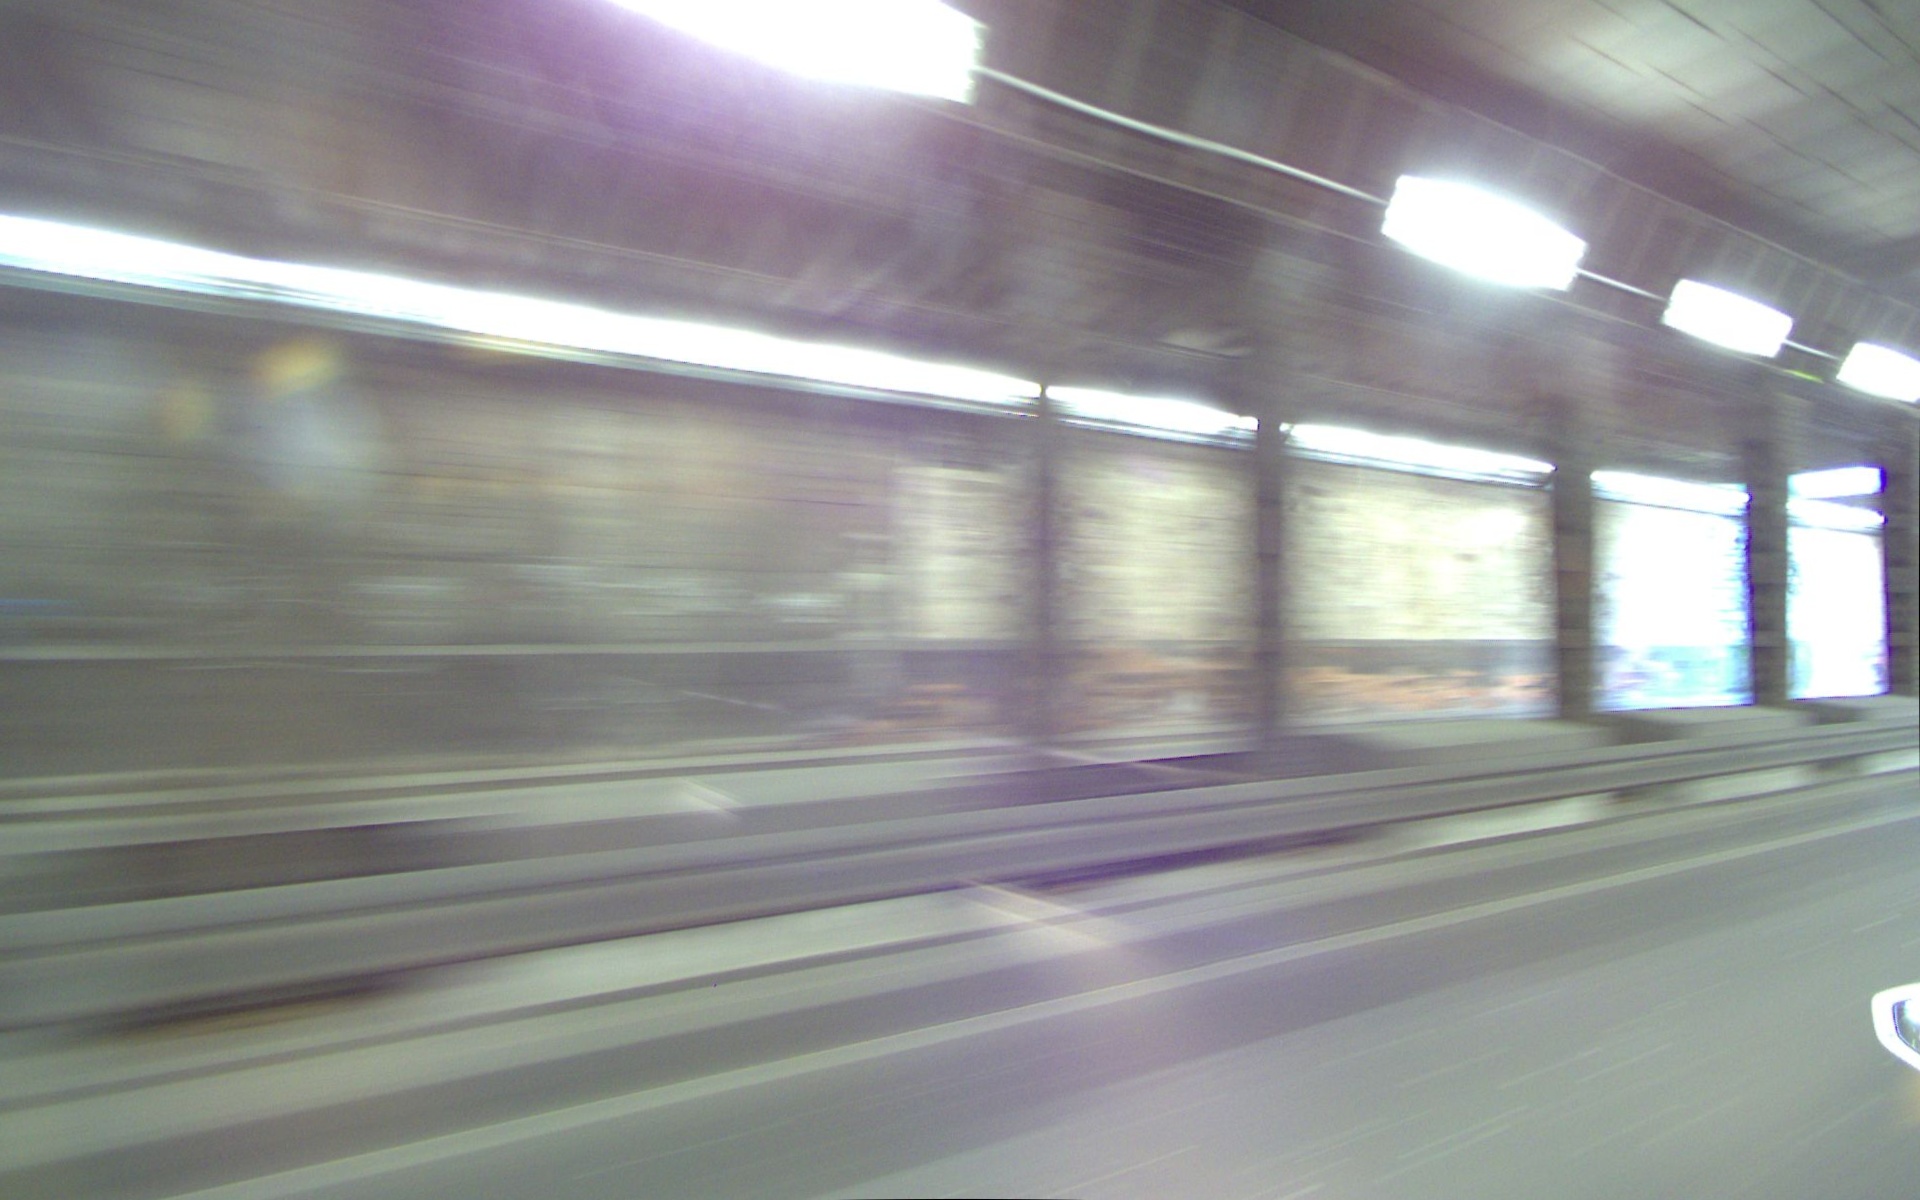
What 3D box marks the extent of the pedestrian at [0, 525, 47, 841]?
[{"bbox_3d":[-7.015,0.536,6.526,1.339,2.082,0.954,2,-2,-29],"label":"pedestrian"}]
